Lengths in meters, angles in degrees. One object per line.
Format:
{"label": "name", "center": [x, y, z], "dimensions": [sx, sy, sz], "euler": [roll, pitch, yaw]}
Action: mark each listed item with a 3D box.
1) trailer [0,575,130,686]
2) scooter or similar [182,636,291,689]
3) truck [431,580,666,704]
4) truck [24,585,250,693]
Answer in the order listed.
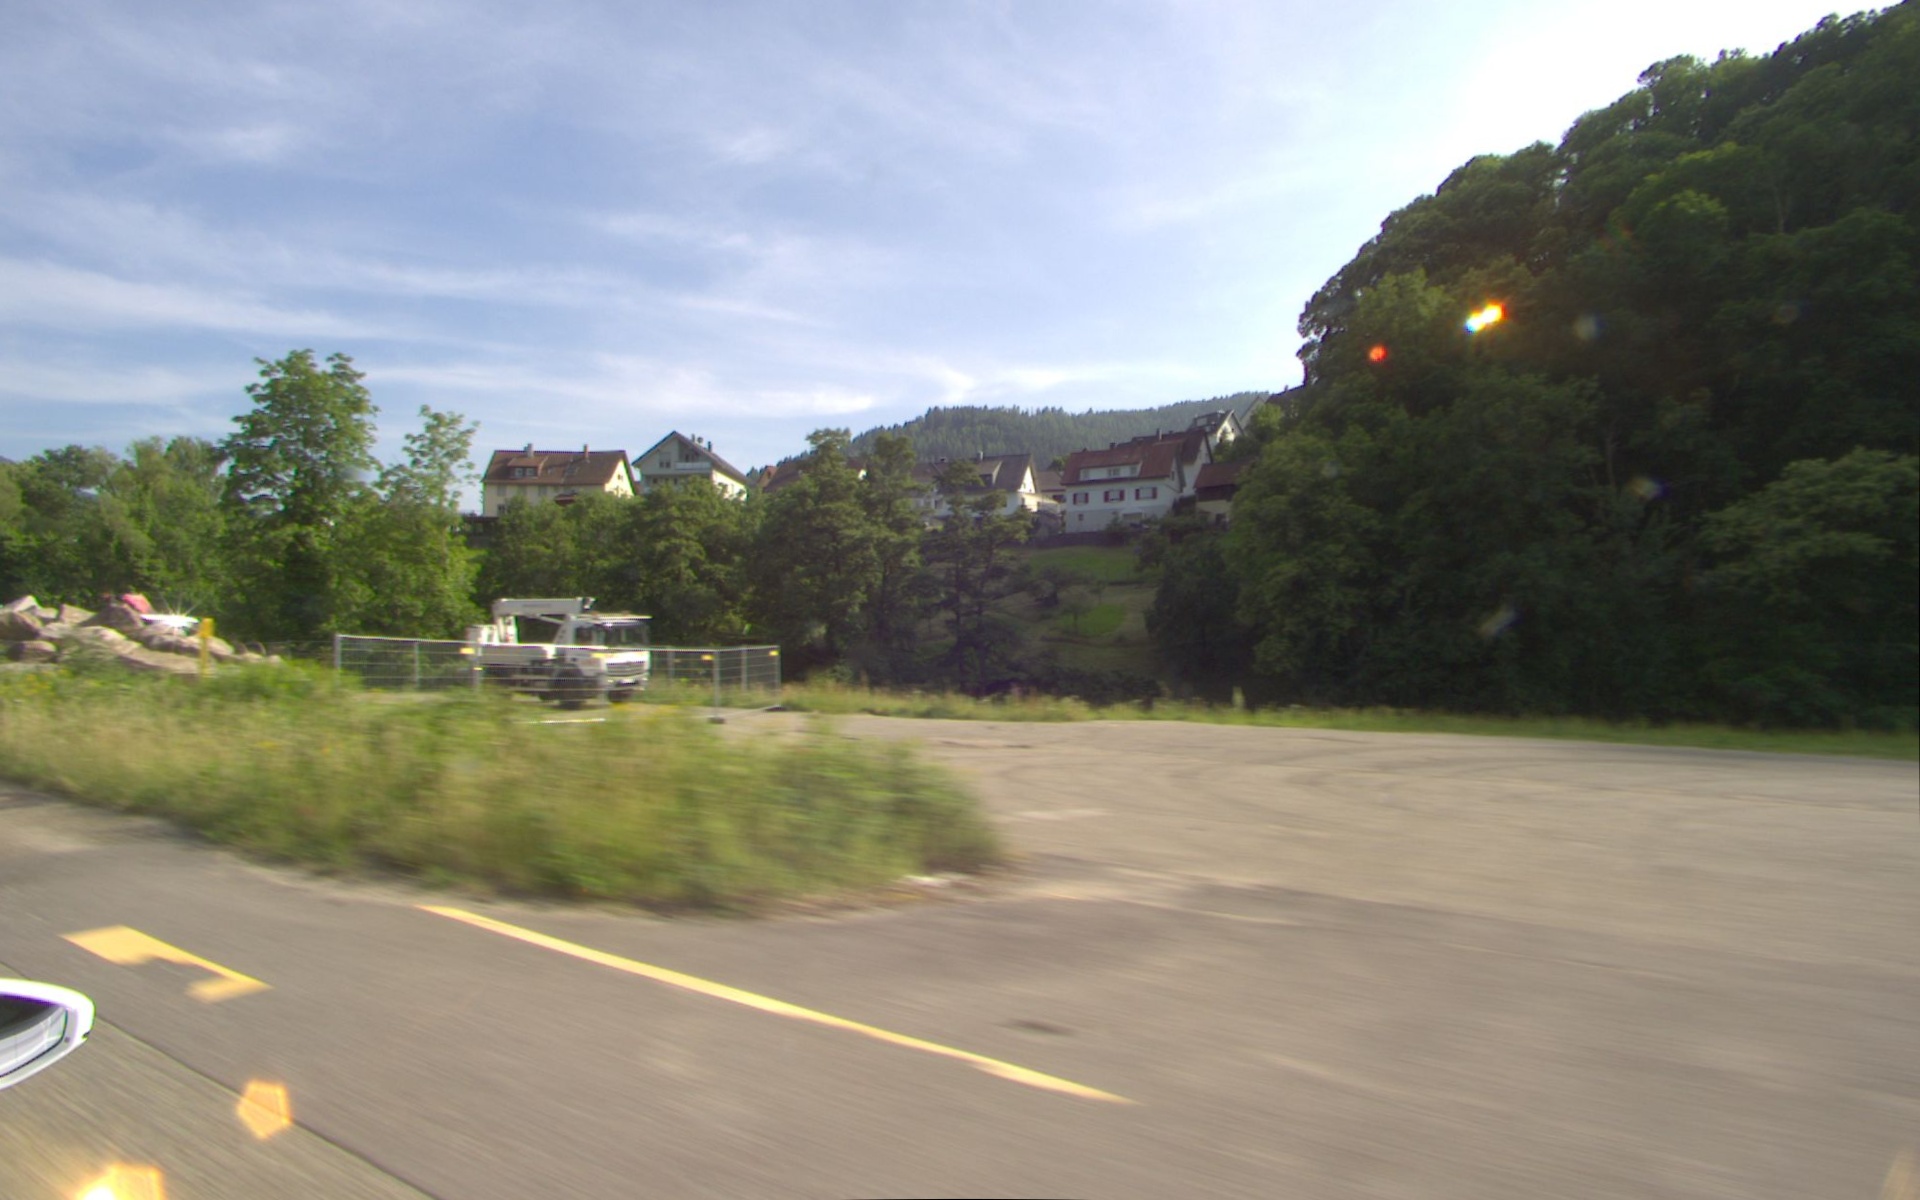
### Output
{"label": "trailer", "center": [-40.045, 1.356, 42.474], "dimensions": [9.745, 4.326, 3.369], "euler": [-1, -4, 24]}
{"label": "scooter or similar", "center": [-29.428, 2.484, 40.734], "dimensions": [3.937, 2.039, 1.993], "euler": [0, -1, 27]}
{"label": "truck", "center": [-14.302, 1.470, 34.544], "dimensions": [8.522, 3.828, 3.099], "euler": [-1, -4, 33]}
{"label": "truck", "center": [-31.788, 1.497, 38.641], "dimensions": [8.500, 3.828, 3.107], "euler": [0, -3, 24]}
